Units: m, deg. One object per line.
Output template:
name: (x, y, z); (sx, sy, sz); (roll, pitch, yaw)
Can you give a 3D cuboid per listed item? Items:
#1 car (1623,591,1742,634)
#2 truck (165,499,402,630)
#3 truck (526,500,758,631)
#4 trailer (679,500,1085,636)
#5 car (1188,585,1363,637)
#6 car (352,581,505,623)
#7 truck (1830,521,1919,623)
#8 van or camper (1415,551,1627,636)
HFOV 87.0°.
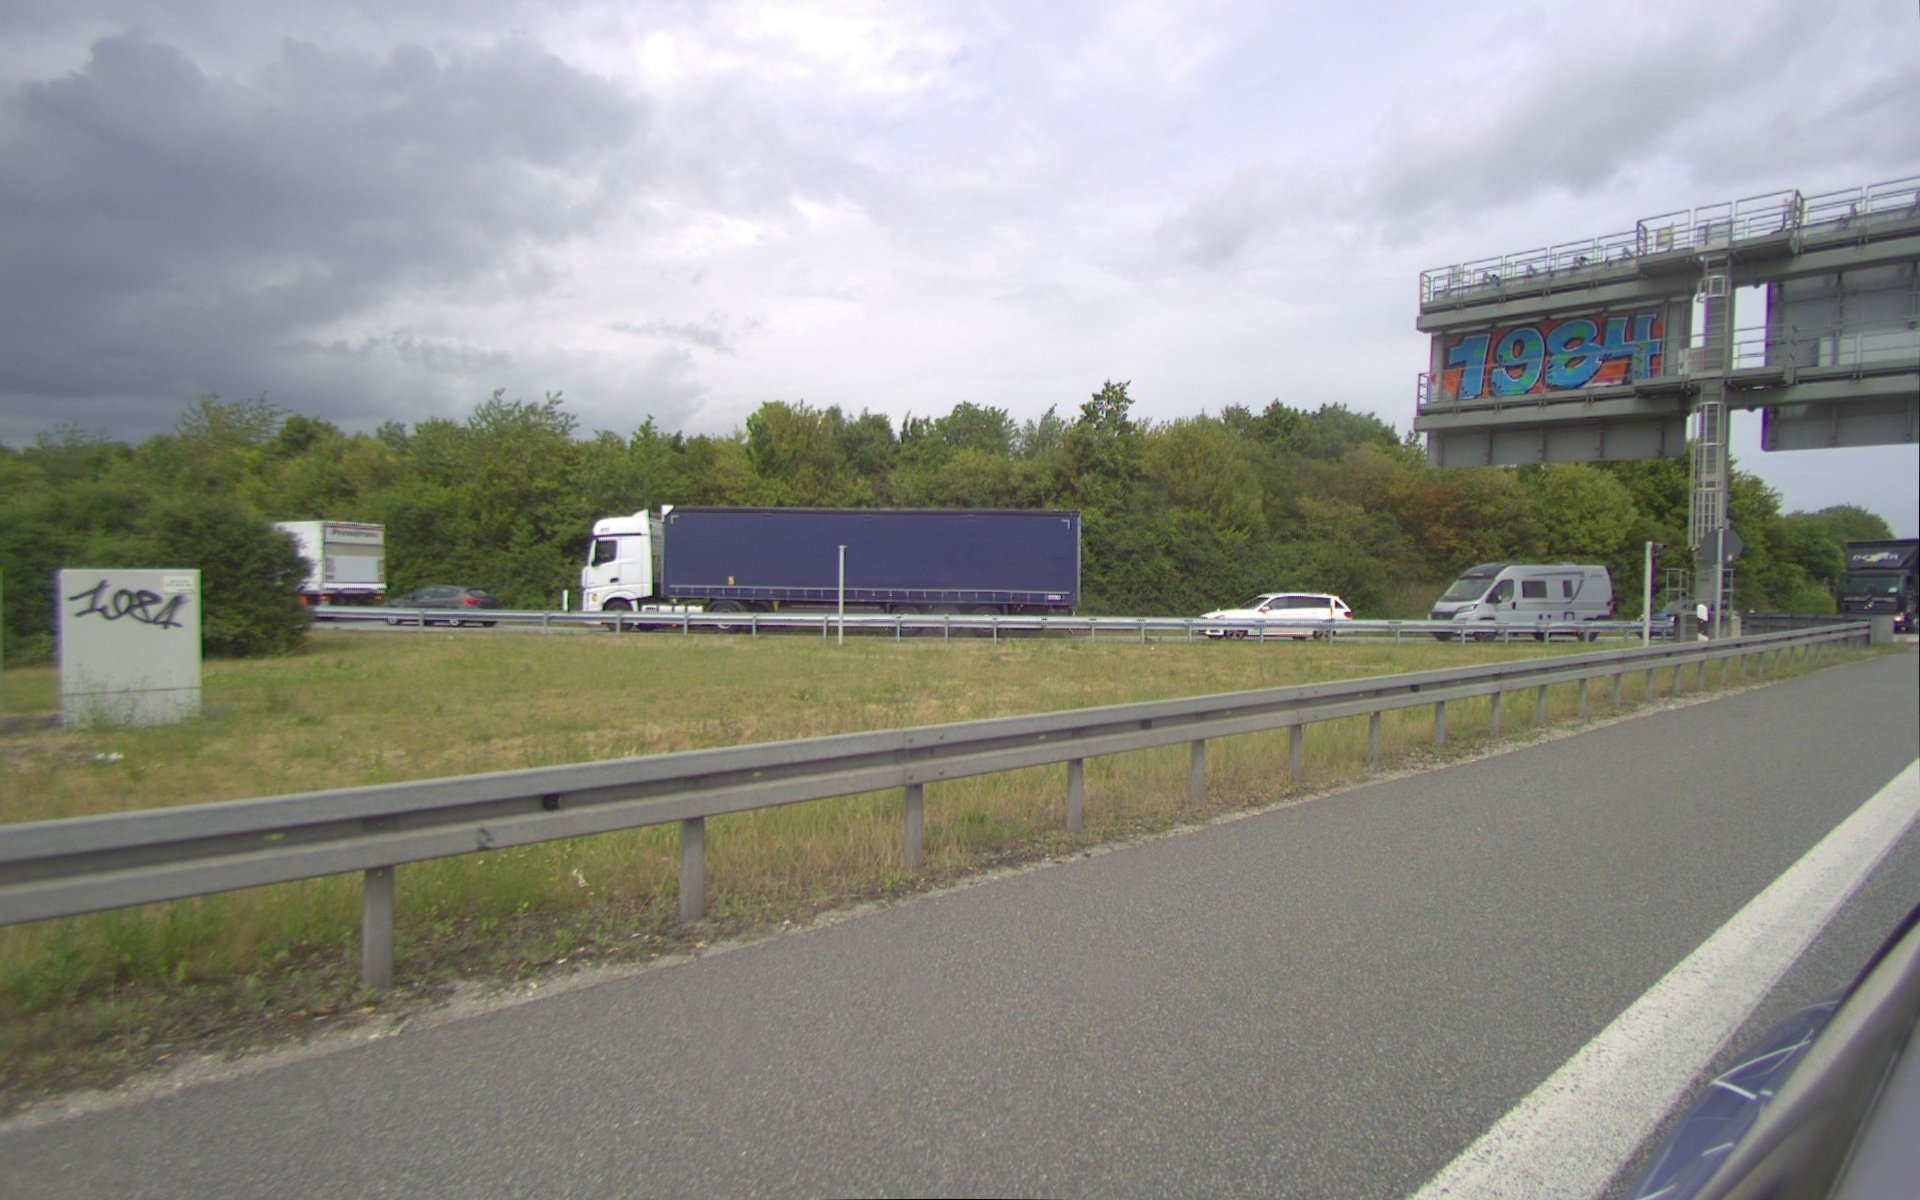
car: (25.492, 0.423, 35.704); (3.589, 1.437, 1.738); (-1, 0, -22)
truck: (-26.299, -1.272, 39.304); (8.884, 4.674, 3.260); (0, 0, 22)
truck: (-10.441, -1.132, 33.764); (6.664, 4.147, 3.369); (0, 0, 2)
trailer: (-2.444, -1.053, 33.449); (12.791, 4.246, 3.340); (0, 0, 2)
car: (9.760, 0.328, 31.560); (4.691, 1.520, 2.216); (0, 1, -5)
car: (-18.695, 0.045, 35.668); (4.713, 1.379, 1.884); (1, 1, 12)
truck: (41.179, -1.130, 43.257); (10.135, 4.004, 3.029); (0, 1, -31)
van or camper: (18.205, -0.212, 32.920); (6.031, 2.600, 2.306); (0, 1, -14)
